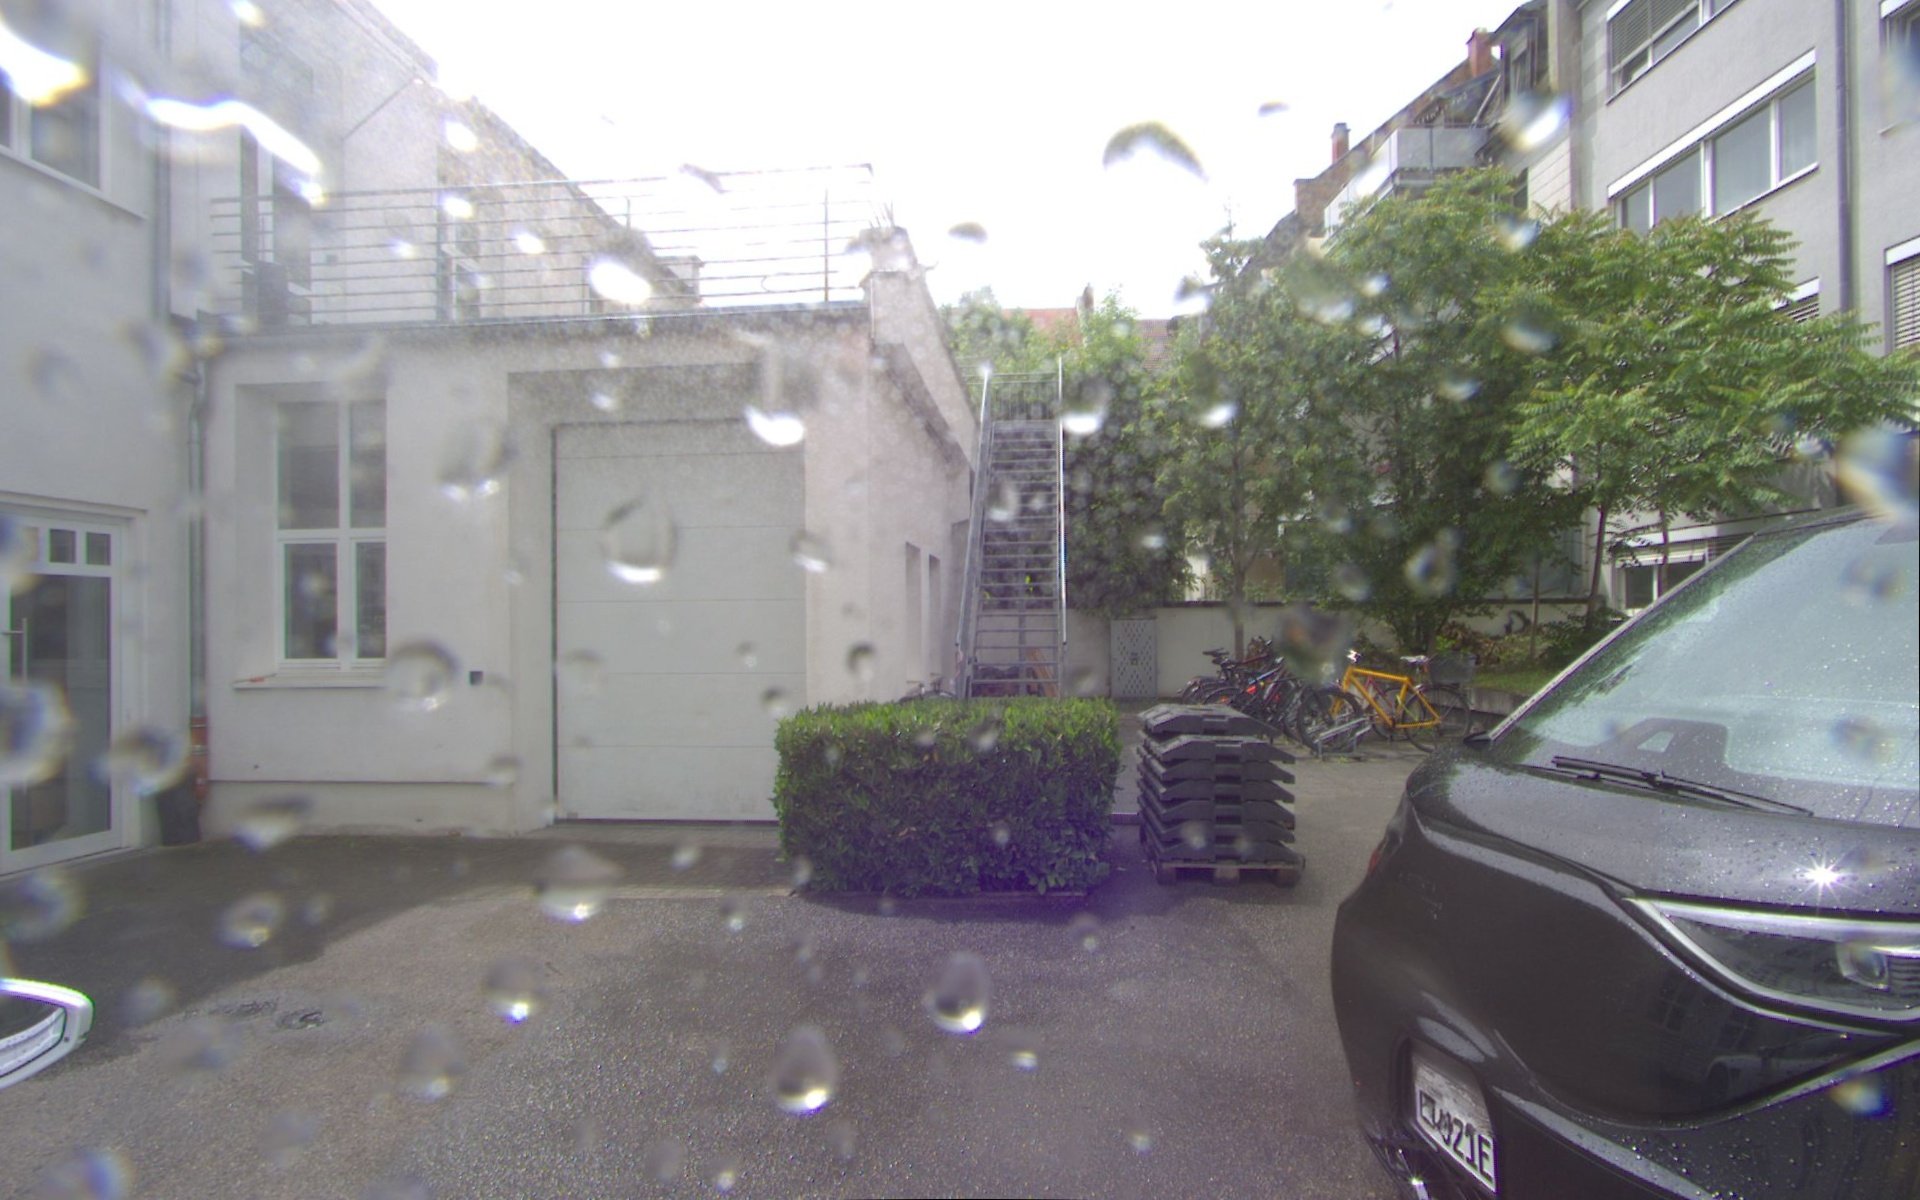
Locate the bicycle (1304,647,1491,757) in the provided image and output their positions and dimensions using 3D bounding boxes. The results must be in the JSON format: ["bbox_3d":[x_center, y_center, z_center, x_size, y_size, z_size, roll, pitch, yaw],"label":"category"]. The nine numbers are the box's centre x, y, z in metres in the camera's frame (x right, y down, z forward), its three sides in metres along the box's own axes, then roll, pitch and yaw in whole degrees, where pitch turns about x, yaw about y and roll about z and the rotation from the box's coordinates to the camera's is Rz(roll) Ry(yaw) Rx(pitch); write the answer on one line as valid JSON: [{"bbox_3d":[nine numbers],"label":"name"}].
[{"bbox_3d":[4.567,1.055,10.519,1.762,1.118,0.367,0,0,7],"label":"bicycle"}]

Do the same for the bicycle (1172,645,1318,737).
[{"bbox_3d":[3.551,1.127,12.508,1.721,1.118,0.343,0,0,-1],"label":"bicycle"}]

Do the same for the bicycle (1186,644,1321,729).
[{"bbox_3d":[3.951,1.161,13.513,1.721,1.118,0.355,0,0,-1],"label":"bicycle"}]

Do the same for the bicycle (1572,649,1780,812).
[{"bbox_3d":[5.752,0.992,8.178,0.438,1.118,1.797,-3,-1,3],"label":"bicycle"}]

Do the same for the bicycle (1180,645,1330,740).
[{"bbox_3d":[3.569,1.113,12.160,1.721,1.118,0.333,0,0,-1],"label":"bicycle"}]

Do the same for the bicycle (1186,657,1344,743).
[{"bbox_3d":[3.585,1.169,11.816,1.761,0.980,0.330,0,0,-1],"label":"bicycle"}]

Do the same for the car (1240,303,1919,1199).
[{"bbox_3d":[3.232,0.598,2.143,4.655,1.888,1.971,-1,-1,-2],"label":"car"}]

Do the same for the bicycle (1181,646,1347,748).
[{"bbox_3d":[3.417,1.083,11.342,1.762,1.118,0.354,0,0,7],"label":"bicycle"}]

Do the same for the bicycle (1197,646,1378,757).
[{"bbox_3d":[3.420,1.054,10.532,1.762,1.118,0.405,0,0,7],"label":"bicycle"}]

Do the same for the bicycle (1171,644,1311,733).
[{"bbox_3d":[3.640,1.143,12.996,1.721,1.118,0.346,0,0,-1],"label":"bicycle"}]
